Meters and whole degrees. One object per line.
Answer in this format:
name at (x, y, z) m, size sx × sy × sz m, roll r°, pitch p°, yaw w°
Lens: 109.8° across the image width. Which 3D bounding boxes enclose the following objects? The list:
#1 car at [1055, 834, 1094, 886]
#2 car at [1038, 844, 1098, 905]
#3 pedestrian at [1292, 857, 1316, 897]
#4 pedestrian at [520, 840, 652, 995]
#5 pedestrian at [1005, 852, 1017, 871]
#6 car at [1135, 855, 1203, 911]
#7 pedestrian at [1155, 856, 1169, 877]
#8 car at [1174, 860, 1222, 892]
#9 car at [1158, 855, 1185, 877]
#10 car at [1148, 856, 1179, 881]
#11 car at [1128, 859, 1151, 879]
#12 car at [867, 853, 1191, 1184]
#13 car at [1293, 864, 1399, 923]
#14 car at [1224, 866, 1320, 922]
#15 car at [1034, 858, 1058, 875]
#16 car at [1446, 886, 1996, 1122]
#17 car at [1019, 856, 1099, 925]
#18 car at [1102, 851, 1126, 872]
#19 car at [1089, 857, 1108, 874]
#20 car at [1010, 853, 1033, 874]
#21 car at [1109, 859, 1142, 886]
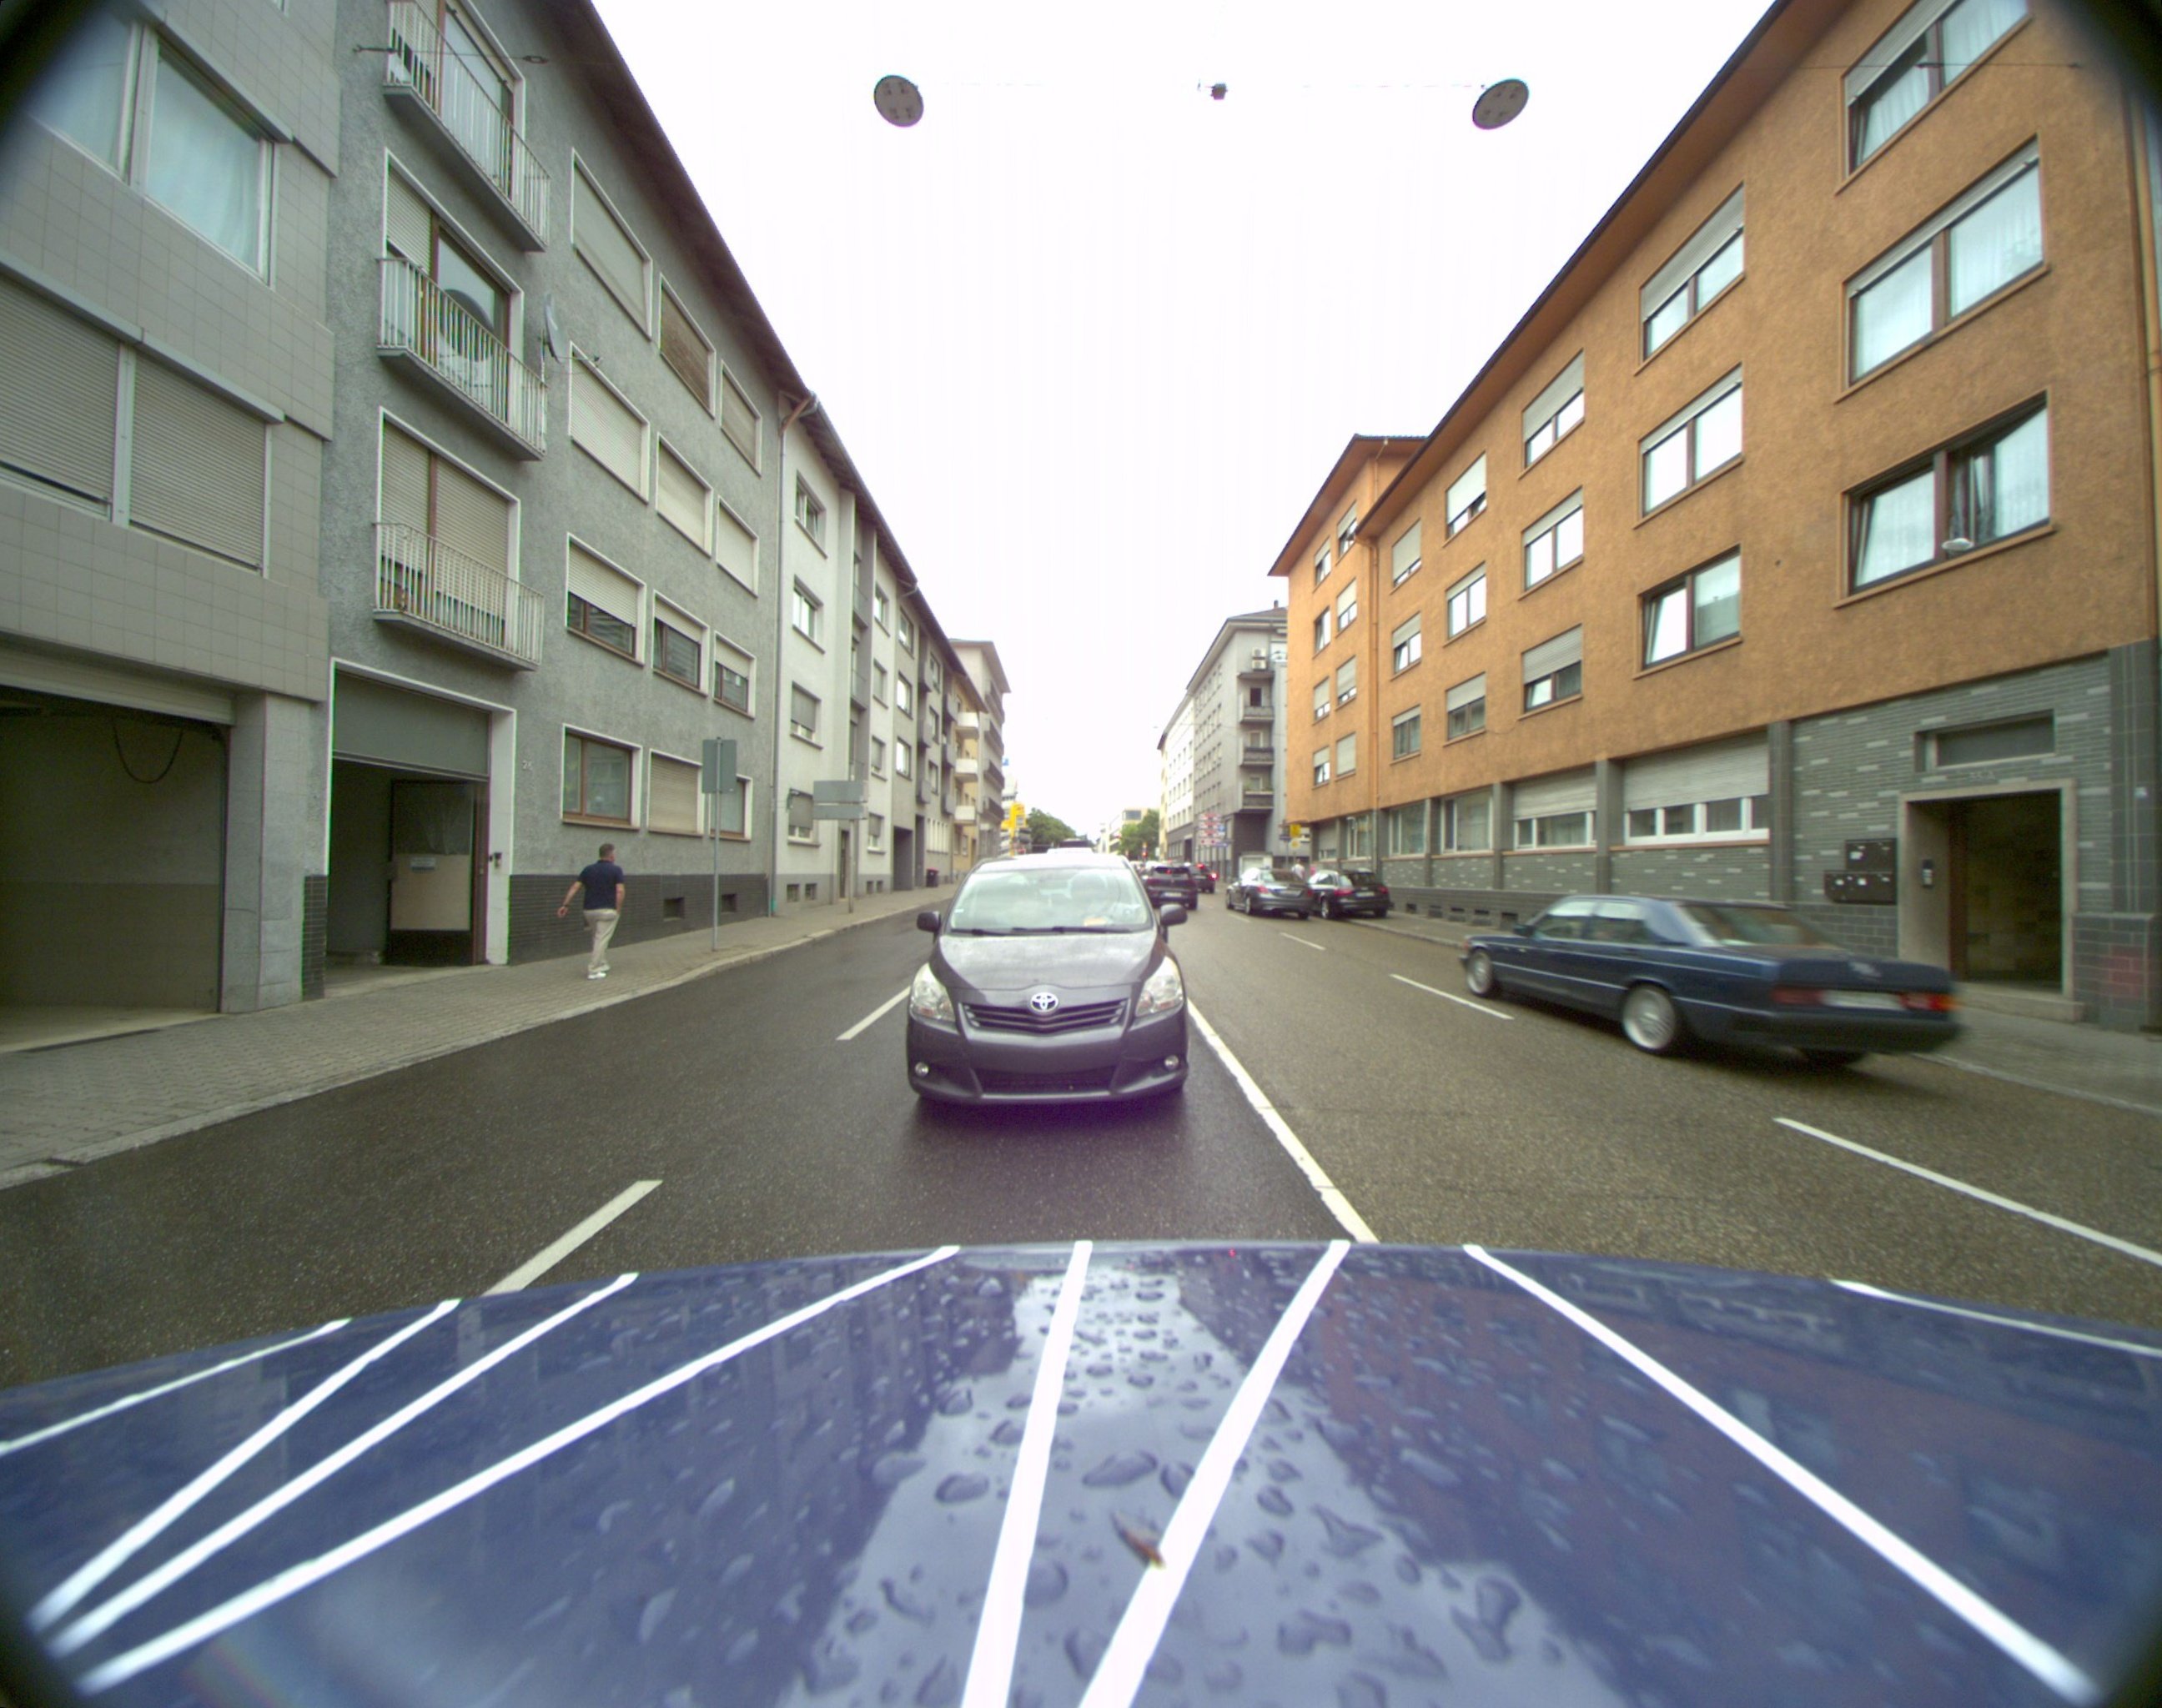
car at (-0.331, 0.293, 43.638) m, size 2.033 × 2.731 × 4.368 m, roll -2°, pitch 1°, yaw 1°
car at (-0.395, 0.632, 26.595) m, size 1.856 × 1.882 × 4.217 m, roll -2°, pitch 1°, yaw 1°
pedestrian at (9.405, 0.956, 32.100) m, size 0.768 × 1.630 × 1.023 m, roll -2°, pitch 1°, yaw 5°
pedestrian at (-6.440, 0.783, 9.951) m, size 0.871 × 1.855 × 1.120 m, roll 4°, pitch 1°, yaw 1°
pedestrian at (-6.721, 0.717, 72.906) m, size 1.119 × 1.741 × 0.961 m, roll 1°, pitch 1°, yaw -5°
car at (2.835, 0.897, 25.386) m, size 1.699 × 1.571 × 4.216 m, roll 2°, pitch 1°, yaw 0°
pedestrian at (8.387, 1.289, 78.944) m, size 1.309 × 2.002 × 1.258 m, roll -2°, pitch 1°, yaw 1°
car at (6.098, 1.113, 39.926) m, size 1.727 × 1.464 × 4.373 m, roll 2°, pitch 0°, yaw -1°
car at (7.816, 0.991, 65.746) m, size 1.856 × 1.712 × 4.217 m, roll -2°, pitch 1°, yaw 1°
car at (6.023, 1.046, 55.859) m, size 1.699 × 1.530 × 4.435 m, roll 4°, pitch 1°, yaw 0°
car at (5.454, 1.363, 71.652) m, size 1.856 × 1.651 × 4.610 m, roll -2°, pitch 1°, yaw 1°
car at (-0.251, 0.897, 6.246) m, size 1.699 × 1.712 × 4.217 m, roll -2°, pitch 1°, yaw 1°
car at (8.044, 1.143, 23.454) m, size 1.799 × 1.466 × 4.217 m, roll -2°, pitch 1°, yaw 1°
car at (5.709, 1.149, 23.256) m, size 1.699 × 1.362 × 4.365 m, roll 3°, pitch 1°, yaw -1°
car at (-3.082, 1.127, 68.504) m, size 1.856 × 1.369 × 4.217 m, roll -2°, pitch 1°, yaw 1°
car at (5.504, 1.142, 7.470) m, size 1.603 × 1.362 × 4.361 m, roll 3°, pitch 0°, yaw -1°
car at (-0.504, 0.888, 20.090) m, size 1.856 × 1.524 × 3.792 m, roll -2°, pitch 1°, yaw 1°
car at (2.608, 0.581, 60.999) m, size 1.622 × 1.530 × 4.216 m, roll 2°, pitch 1°, yaw -1°
car at (1.710, 1.123, 75.186) m, size 1.749 × 1.530 × 4.052 m, roll 2°, pitch 1°, yaw -1°
car at (-5.130, 0.785, 65.880) m, size 1.856 × 1.663 × 4.215 m, roll -2°, pitch 1°, yaw -4°
car at (2.545, 1.035, 43.999) m, size 1.699 × 1.362 × 4.217 m, roll 2°, pitch 1°, yaw 1°
